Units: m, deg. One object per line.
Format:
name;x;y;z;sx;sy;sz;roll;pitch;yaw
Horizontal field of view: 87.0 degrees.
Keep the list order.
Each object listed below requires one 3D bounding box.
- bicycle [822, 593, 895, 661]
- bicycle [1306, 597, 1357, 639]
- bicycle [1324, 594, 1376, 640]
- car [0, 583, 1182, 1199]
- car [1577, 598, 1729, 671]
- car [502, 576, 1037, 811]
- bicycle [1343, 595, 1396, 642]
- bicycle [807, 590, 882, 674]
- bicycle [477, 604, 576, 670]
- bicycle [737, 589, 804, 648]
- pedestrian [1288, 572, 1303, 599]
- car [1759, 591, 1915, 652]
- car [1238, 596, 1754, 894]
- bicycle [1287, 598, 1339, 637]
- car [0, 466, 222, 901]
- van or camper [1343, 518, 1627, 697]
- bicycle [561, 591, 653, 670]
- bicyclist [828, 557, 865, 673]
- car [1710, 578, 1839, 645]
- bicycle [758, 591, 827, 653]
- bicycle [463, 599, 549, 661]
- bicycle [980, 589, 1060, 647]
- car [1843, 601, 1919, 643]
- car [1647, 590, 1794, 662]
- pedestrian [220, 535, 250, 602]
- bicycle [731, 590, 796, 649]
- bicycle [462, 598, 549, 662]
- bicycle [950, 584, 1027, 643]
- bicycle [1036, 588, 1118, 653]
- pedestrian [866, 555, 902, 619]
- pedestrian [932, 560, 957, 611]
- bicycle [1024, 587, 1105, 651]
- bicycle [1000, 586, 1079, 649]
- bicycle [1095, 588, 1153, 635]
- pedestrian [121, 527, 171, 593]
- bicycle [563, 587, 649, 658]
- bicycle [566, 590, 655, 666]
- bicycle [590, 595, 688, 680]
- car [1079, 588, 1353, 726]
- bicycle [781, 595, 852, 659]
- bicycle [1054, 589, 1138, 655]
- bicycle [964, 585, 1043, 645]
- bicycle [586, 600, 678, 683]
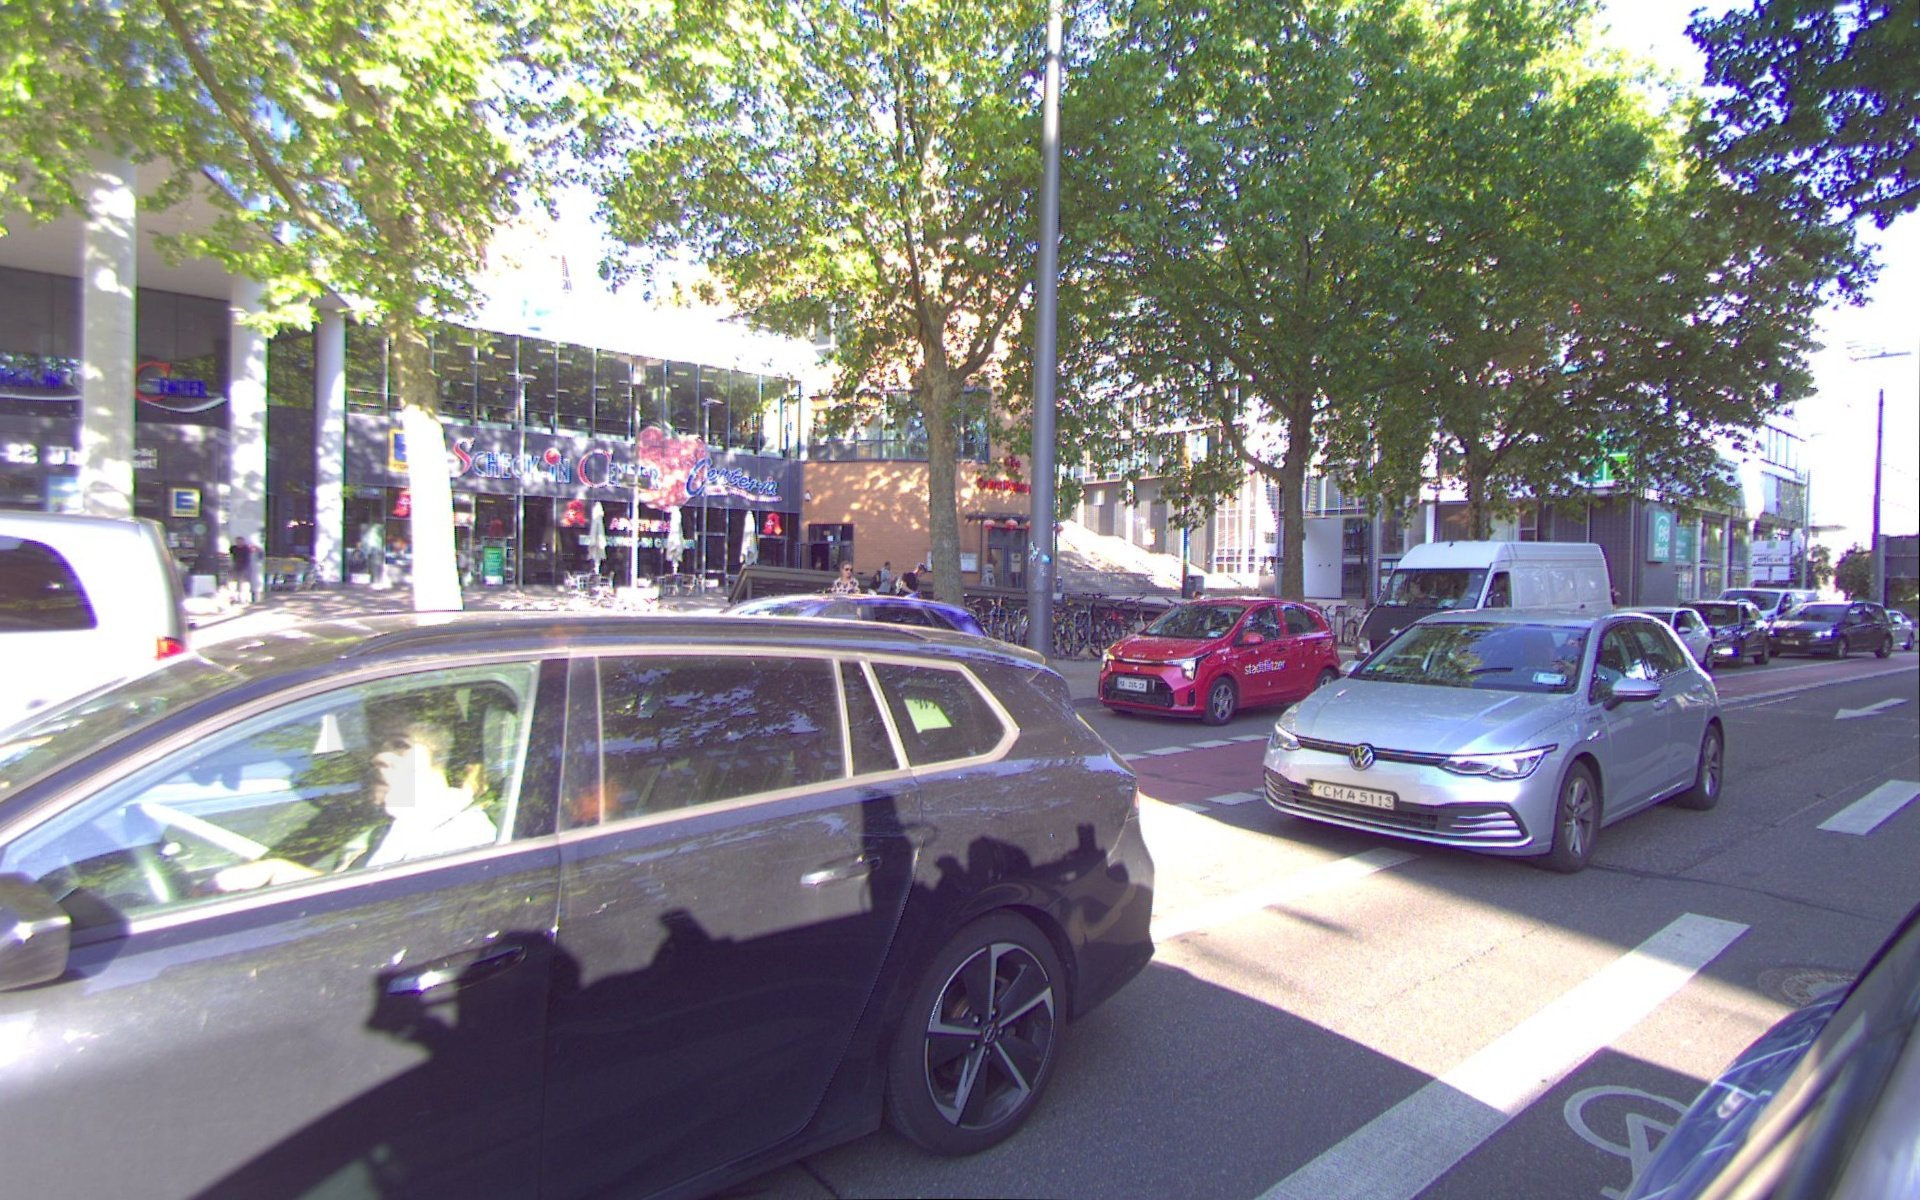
bicycle;-1.713;0.440;17.140;1.202;1.110;0.420;0;1;-40
bicycle;10.307;0.482;28.036;1.766;1.108;0.522;0;2;-41
bicycle;10.663;0.451;27.623;1.818;1.209;0.495;0;2;-41
car;-1.453;0.686;2.437;4.196;1.432;1.742;0;0;-41
car;15.279;0.686;22.251;3.927;1.446;1.683;0;1;-38
car;-1.438;0.588;8.619;4.177;1.503;1.742;0;2;-41
bicycle;11.031;0.479;27.224;1.818;1.209;0.521;0;2;-41
bicycle;-1.796;0.482;15.788;1.126;1.271;0.379;0;1;-41
bicycle;-6.240;0.519;14.589;1.231;0.898;0.462;0;1;-40
bicycle;-3.645;0.344;19.498;1.202;1.110;0.444;0;1;-40
pedestrian;19.217;-0.835;58.012;0.707;1.578;0.638;1;1;14
car;25.224;0.583;29.100;4.242;1.640;1.970;0;1;-28
car;3.793;0.707;6.885;3.928;1.458;1.733;0;0;-39
bicycle;9.924;0.480;28.446;1.818;1.046;0.515;0;2;-41
car;-6.306;0.359;4.281;5.008;2.004;1.940;0;2;-41
van or camper;9.313;0.099;17.606;6.456;2.611;1.998;0;0;-39
bicycle;-5.159;0.425;14.833;1.202;1.110;0.396;0;1;-40
bicyclist;-1.764;0.224;15.770;0.392;1.782;0.390;0;1;-41
car;26.480;0.328;32.849;4.863;2.020;1.968;0;1;-35
bicycle;-3.110;0.388;18.834;1.202;1.110;0.427;0;1;-40
bicycle;-7.123;0.463;15.913;1.198;0.938;0.465;1;1;-22
bicycle;1.254;0.352;20.961;1.818;1.139;0.484;0;2;-41
car;33.519;0.752;36.510;3.927;1.394;1.802;0;2;-38
car;18.973;0.592;25.196;4.148;1.640;1.819;0;1;-36
pedestrian;-18.768;-0.807;26.215;0.506;1.707;0.604;1;1;-23
bicycle;-3.890;0.373;20.041;1.202;1.110;0.429;0;1;-40
bicycle;-6.961;0.454;15.536;1.198;0.930;0.442;1;1;-22
bicycle;0.635;0.272;21.694;1.818;1.209;0.434;0;1;-41
bicycle;2.296;0.389;19.743;1.818;1.209;0.448;0;1;-41
pedestrian;-2.195;-0.374;29.133;0.868;1.805;0.604;1;1;-18
pedestrian;-0.646;-0.608;41.801;0.575;2.062;0.876;1;1;-35
bicycle;2.108;0.363;20.251;1.818;1.209;0.484;0;2;-41
bicycle;1.627;0.340;20.512;1.818;1.209;0.447;0;1;-41
bicycle;4.399;0.307;27.045;1.759;1.209;0.517;0;2;-41
pedestrian;-21.800;-1.062;27.110;0.794;1.728;0.715;1;1;12
bicycle;-5.724;0.349;16.425;0.414;1.110;1.269;2;1;41
bicycle;-5.362;0.406;15.581;0.372;1.110;1.269;2;1;41
bicycle;-4.404;0.495;13.908;1.202;1.110;0.413;0;1;-40
car;3.309;0.611;12.790;3.588;1.476;1.605;0;1;-41
bicycle;-2.550;0.466;18.060;1.202;1.110;0.400;0;1;-40
bicycle;2.619;0.400;19.357;1.818;1.209;0.481;0;2;-41
bicycle;0.933;0.297;21.340;1.818;1.209;0.458;0;1;-41
bicycle;-4.583;0.565;14.173;1.202;1.110;0.269;0;1;-40
